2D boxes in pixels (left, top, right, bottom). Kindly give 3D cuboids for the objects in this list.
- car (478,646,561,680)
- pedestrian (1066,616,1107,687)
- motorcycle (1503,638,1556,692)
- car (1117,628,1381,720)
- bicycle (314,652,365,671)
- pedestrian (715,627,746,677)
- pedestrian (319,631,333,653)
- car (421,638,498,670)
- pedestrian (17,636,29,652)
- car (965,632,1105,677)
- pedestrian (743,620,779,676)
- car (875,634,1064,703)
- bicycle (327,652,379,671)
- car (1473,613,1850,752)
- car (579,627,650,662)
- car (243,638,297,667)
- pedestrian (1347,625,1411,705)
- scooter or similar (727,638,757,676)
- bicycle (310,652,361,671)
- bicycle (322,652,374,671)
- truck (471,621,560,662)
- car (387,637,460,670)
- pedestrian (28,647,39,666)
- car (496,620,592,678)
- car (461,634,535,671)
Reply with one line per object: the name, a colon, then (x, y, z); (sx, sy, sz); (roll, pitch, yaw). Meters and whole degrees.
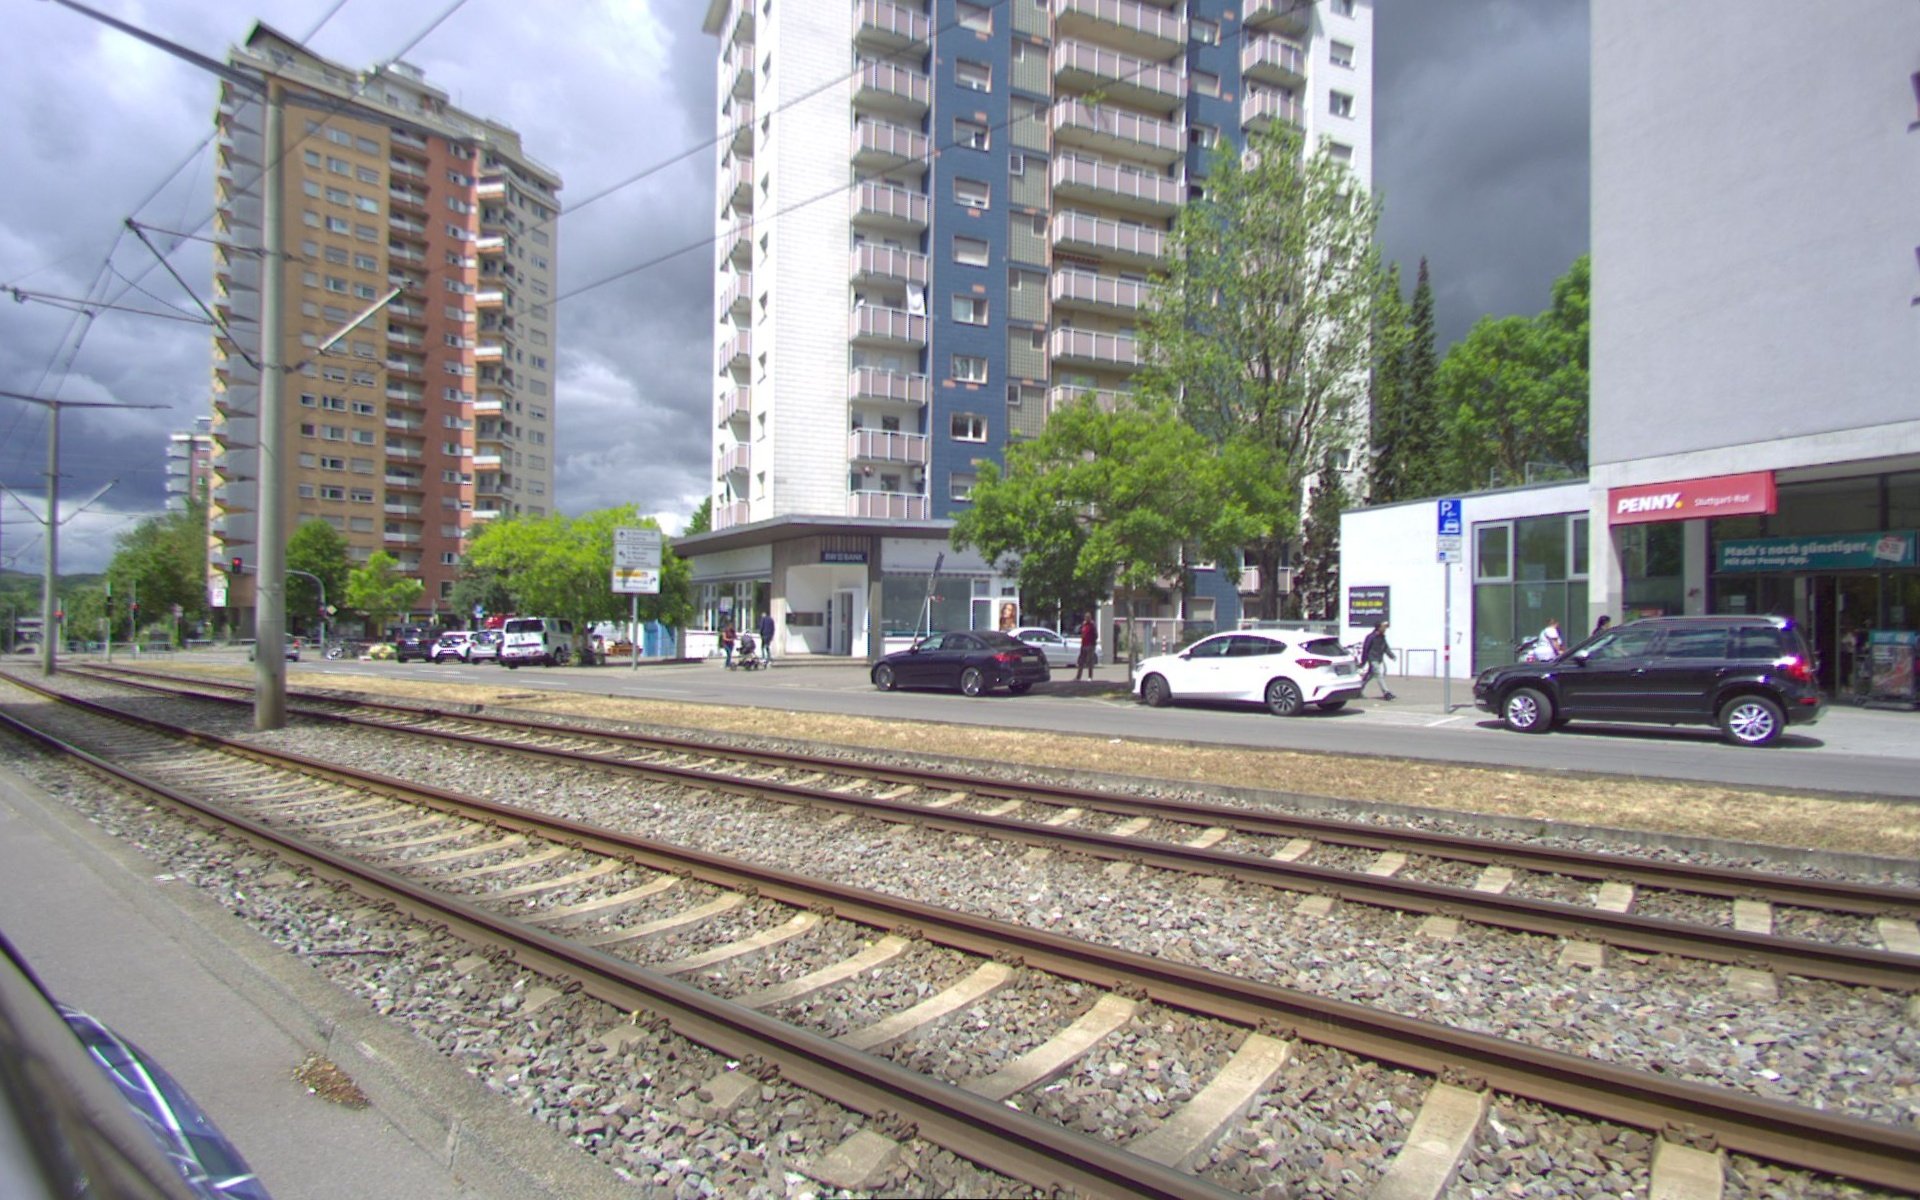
car: (-19.329, 2.766, 44.607); (1.880, 1.394, 3.999); (0, -3, 0)
pedestrian: (3.291, 1.351, 26.325); (0.843, 1.806, 0.605); (-3, -5, 41)
motorcycle: (13.267, 1.508, 23.544); (0.741, 1.187, 1.873); (-3, -4, 39)
car: (5.187, 1.330, 18.632); (1.733, 1.486, 4.404); (3, -5, -43)
bicycle: (-35.884, 3.564, 58.534); (0.705, 1.074, 2.400); (-3, -5, 43)
pedestrian: (-7.488, 1.691, 33.041); (0.507, 1.583, 0.987); (-4, 0, -38)
pedestrian: (-57.841, 3.815, 92.342); (0.853, 1.949, 0.908); (-3, -5, 43)
car: (-24.059, 2.611, 48.782); (1.724, 1.508, 3.763); (0, -3, 2)
pedestrian: (-97.460, 4.562, 105.270); (0.747, 1.618, 0.853); (-3, -5, 43)
car: (2.493, 1.841, 34.218); (4.284, 1.454, 2.005); (1, -3, -12)
pedestrian: (-6.543, 1.573, 33.242); (0.830, 1.806, 0.875); (3, -5, -43)
car: (0.121, 1.515, 23.221); (4.382, 1.439, 1.715); (-3, -3, 44)
bicycle: (-34.160, 3.470, 57.004); (0.705, 1.074, 2.400); (-3, -5, 43)
car: (9.772, 1.092, 14.329); (4.096, 1.675, 1.973); (-3, -3, 40)
car: (-33.832, 4.393, 99.201); (6.204, 3.324, 2.003); (3, -4, -39)
car: (-37.841, 2.892, 55.459); (1.797, 1.544, 3.757); (3, -5, -44)
pedestrian: (8.369, 1.293, 20.216); (0.593, 1.545, 0.975); (2, -4, -36)
scooter or similar: (-6.963, 1.816, 32.331); (0.571, 1.132, 0.771); (-5, 2, -37)
bicycle: (-36.462, 3.598, 59.085); (0.705, 1.074, 2.400); (-3, -5, 43)
bicycle: (-34.747, 3.501, 57.514); (0.705, 1.074, 2.400); (-3, -5, 43)
truck: (-40.997, 3.889, 93.440); (6.989, 3.703, 2.550); (3, -5, -41)
car: (-27.524, 2.761, 52.062); (1.903, 1.604, 4.004); (0, -3, -5)
pedestrian: (-93.428, 5.710, 102.043); (0.573, 1.946, 0.760); (-3, -5, 42)
car: (-16.626, 2.000, 40.753); (1.880, 2.173, 4.760); (0, -3, 0)
car: (-21.600, 2.489, 47.505); (1.878, 1.644, 4.003); (0, -3, -4)
